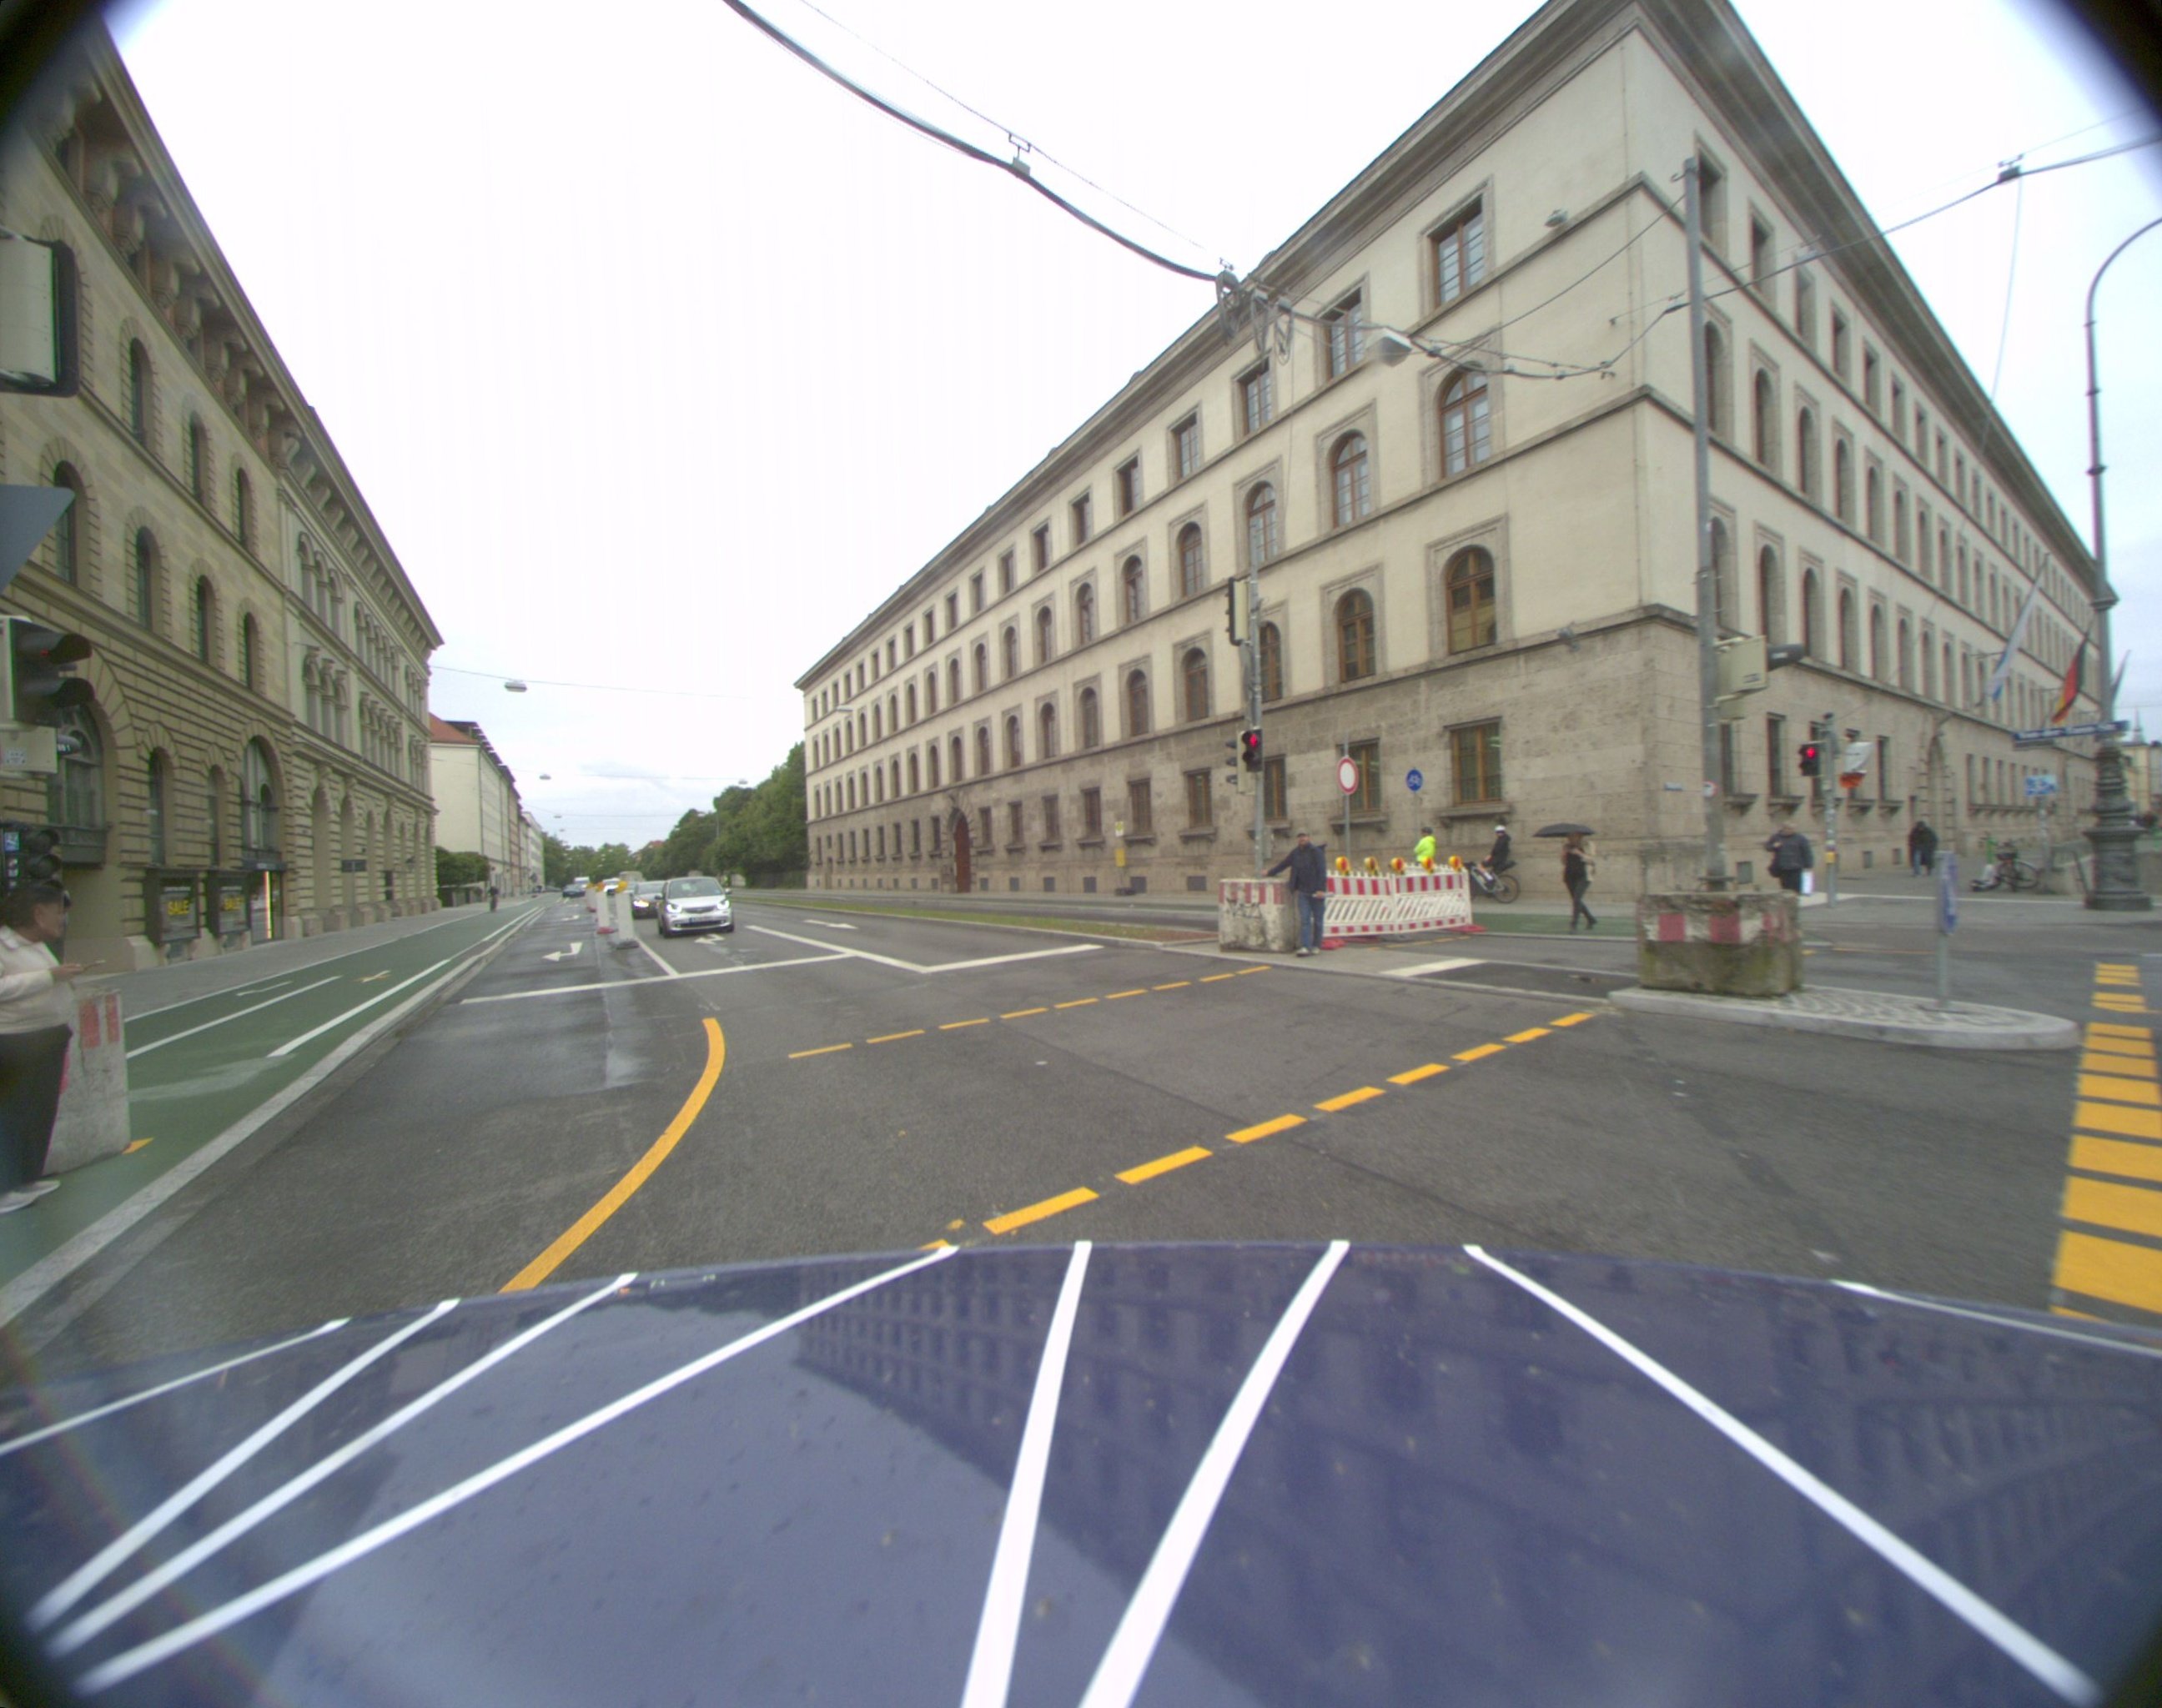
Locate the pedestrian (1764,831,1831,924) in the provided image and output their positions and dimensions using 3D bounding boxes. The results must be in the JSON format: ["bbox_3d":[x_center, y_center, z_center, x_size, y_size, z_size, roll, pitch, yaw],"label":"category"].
[{"bbox_3d":[13.257,0.405,14.059,0.728,1.645,0.737,-3,4,-35],"label":"pedestrian"}]

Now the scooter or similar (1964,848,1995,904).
[{"bbox_3d":[20.696,0.482,17.502,1.993,1.138,0.380,-4,1,-39],"label":"scooter or similar"}]

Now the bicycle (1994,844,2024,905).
[{"bbox_3d":[21.019,0.444,17.204,1.993,1.235,0.380,-4,1,-39],"label":"bicycle"}]

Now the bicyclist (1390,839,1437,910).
[{"bbox_3d":[8.529,0.517,19.513,0.802,1.738,0.687,-4,1,-31],"label":"bicyclist"}]

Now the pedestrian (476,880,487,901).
[{"bbox_3d":[-54.105,3.307,68.603,0.656,1.863,0.824,-1,-1,-33],"label":"pedestrian"}]

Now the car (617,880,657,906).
[{"bbox_3d":[-29.870,2.552,51.031,2.003,1.548,4.377,-3,0,-34],"label":"car"}]

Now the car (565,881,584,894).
[{"bbox_3d":[-58.141,3.858,87.296,1.743,1.313,3.991,-3,0,-33],"label":"car"}]

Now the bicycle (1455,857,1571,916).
[{"bbox_3d":[9.937,0.722,17.593,0.790,1.235,2.194,-4,1,-29],"label":"bicycle"}]

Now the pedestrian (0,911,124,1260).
[{"bbox_3d":[-5.421,1.124,3.780,0.534,1.610,0.672,-4,1,-31],"label":"pedestrian"}]

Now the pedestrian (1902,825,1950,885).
[{"bbox_3d":[23.828,0.024,21.439,0.728,1.645,0.737,-3,3,-31],"label":"pedestrian"}]

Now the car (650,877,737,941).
[{"bbox_3d":[-10.776,1.442,21.013,1.637,1.494,3.991,-3,0,-33],"label":"car"}]

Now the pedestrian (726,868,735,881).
[{"bbox_3d":[-53.836,3.130,116.593,0.756,2.002,0.869,-3,1,24],"label":"pedestrian"}]

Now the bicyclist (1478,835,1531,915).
[{"bbox_3d":[9.861,0.478,17.699,0.802,1.765,0.687,-4,1,-29],"label":"bicyclist"}]

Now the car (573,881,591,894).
[{"bbox_3d":[-60.513,3.995,92.207,1.743,1.425,3.991,-3,0,-33],"label":"car"}]

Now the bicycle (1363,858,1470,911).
[{"bbox_3d":[8.550,0.763,19.507,0.790,1.235,2.443,-4,1,-31],"label":"bicycle"}]

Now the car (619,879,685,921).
[{"bbox_3d":[-17.645,1.836,31.156,1.926,1.433,4.296,-5,1,-34],"label":"car"}]

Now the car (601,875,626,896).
[{"bbox_3d":[-48.657,3.232,79.037,2.003,2.002,3.991,-2,0,-33],"label":"car"}]

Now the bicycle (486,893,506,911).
[{"bbox_3d":[-36.845,3.015,47.843,0.752,1.026,2.525,-4,1,-34],"label":"bicycle"}]

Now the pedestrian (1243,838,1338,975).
[{"bbox_3d":[2.793,0.677,10.184,0.515,1.733,1.040,-3,1,-43],"label":"pedestrian"}]

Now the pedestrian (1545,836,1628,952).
[{"bbox_3d":[8.158,0.623,12.279,0.847,1.761,0.737,-4,1,-28],"label":"pedestrian"}]

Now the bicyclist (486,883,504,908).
[{"bbox_3d":[-36.836,2.594,47.787,0.726,1.543,0.856,-4,1,-34],"label":"bicyclist"}]
